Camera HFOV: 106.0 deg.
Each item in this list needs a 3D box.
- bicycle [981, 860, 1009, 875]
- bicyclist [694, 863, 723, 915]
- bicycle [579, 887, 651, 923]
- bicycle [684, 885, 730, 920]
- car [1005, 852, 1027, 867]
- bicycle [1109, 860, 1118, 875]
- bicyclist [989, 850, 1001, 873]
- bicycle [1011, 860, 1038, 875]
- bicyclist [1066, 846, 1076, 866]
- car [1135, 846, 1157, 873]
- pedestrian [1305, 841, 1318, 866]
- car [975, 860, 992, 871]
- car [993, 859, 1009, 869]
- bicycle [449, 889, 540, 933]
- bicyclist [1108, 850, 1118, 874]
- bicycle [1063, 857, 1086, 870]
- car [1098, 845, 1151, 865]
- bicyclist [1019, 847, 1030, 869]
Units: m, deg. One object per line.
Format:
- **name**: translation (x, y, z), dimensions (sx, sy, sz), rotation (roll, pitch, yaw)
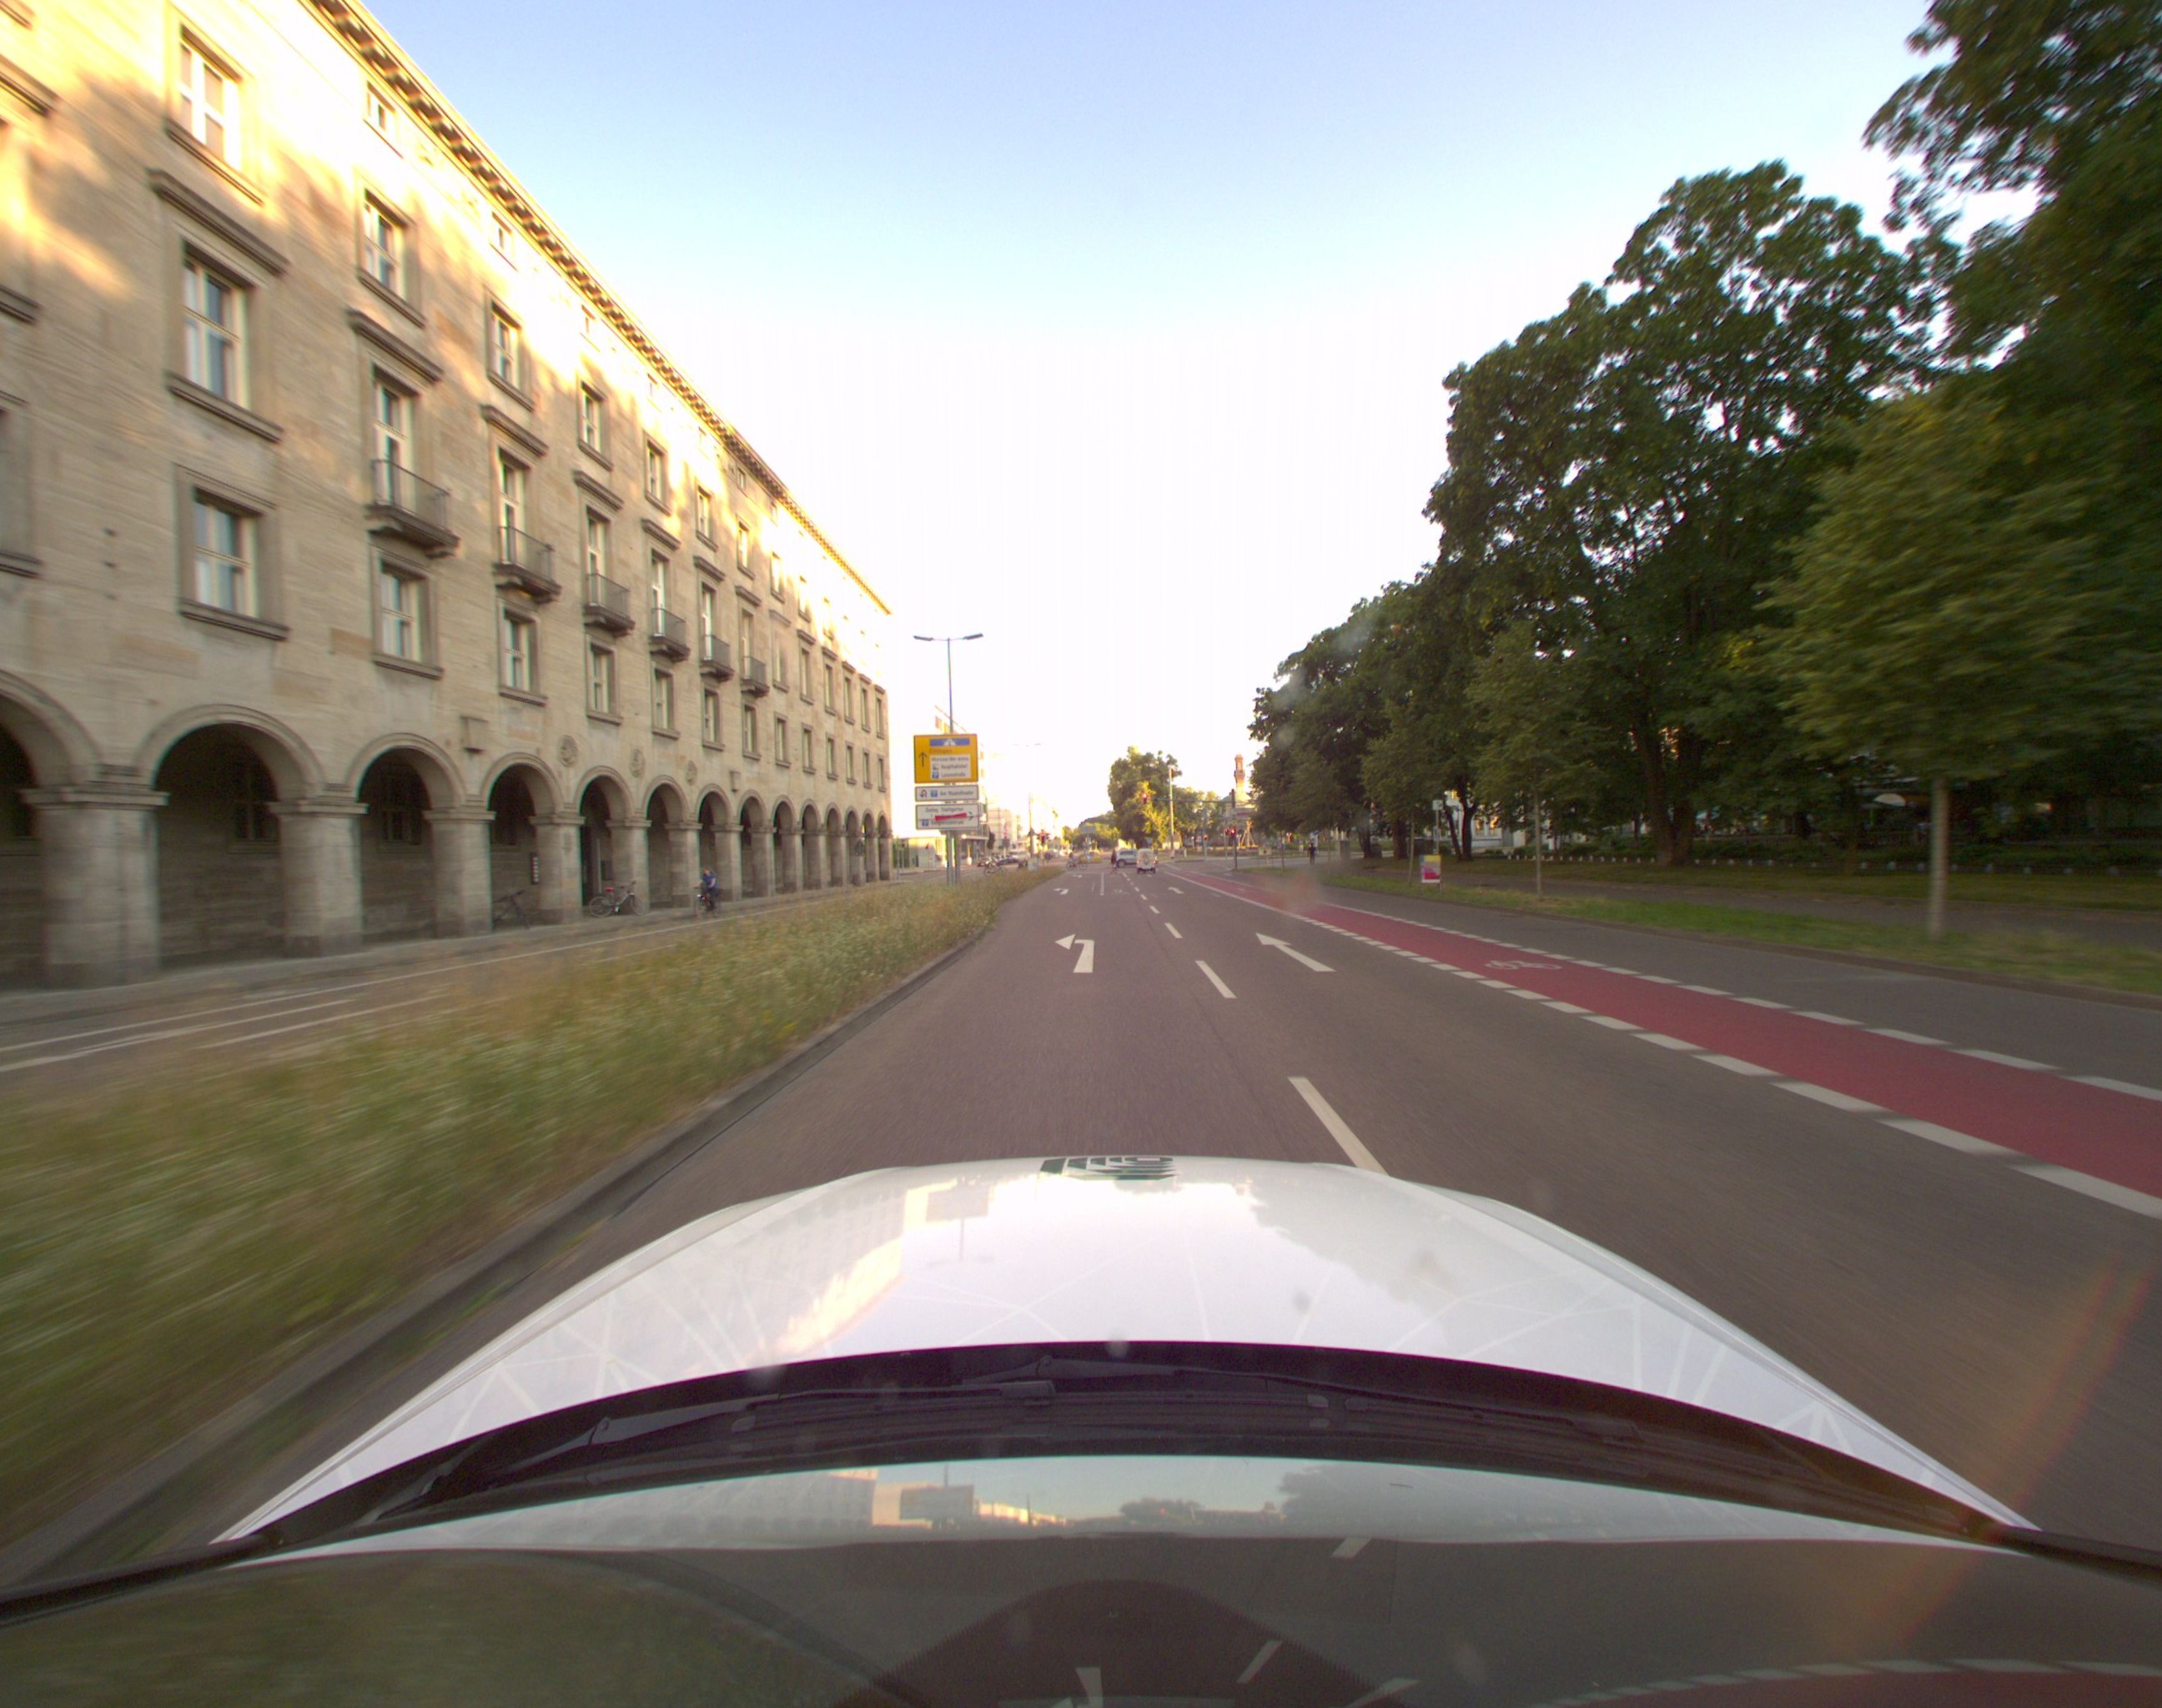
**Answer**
- **bicycle**: translation (-6.674, 1.007, 63.116), dimensions (2.006, 1.069, 0.731), rotation (-2, 0, 3)
- **bicyclist**: translation (-12.450, 1.150, 27.205), dimensions (0.534, 1.693, 0.749), rotation (-2, -1, 2)
- **bicycle**: translation (-15.302, 1.659, 26.804), dimensions (0.472, 1.005, 2.018), rotation (-3, 0, 37)
- **bicycle**: translation (-12.439, 1.603, 27.146), dimensions (0.539, 1.005, 2.005), rotation (-2, 0, 1)
- **car**: translation (-11.734, 0.993, 147.899), dimensions (2.162, 2.385, 6.009), rotation (-3, -2, 13)
- **bicycle**: translation (2.346, 0.974, 58.925), dimensions (0.635, 1.069, 2.070), rotation (-1, 0, 1)
- **bicyclist**: translation (-6.693, 0.566, 63.105), dimensions (0.743, 1.693, 0.716), rotation (-2, -1, 2)
- **bicycle**: translation (-4.494, 1.092, 64.804), dimensions (2.051, 1.069, 0.787), rotation (-2, 0, 0)
- **bicyclist**: translation (-0.841, 0.208, 70.452), dimensions (0.743, 1.693, 0.716), rotation (-2, -1, 4)
- **car**: translation (4.649, 0.360, 58.314), dimensions (1.453, 1.780, 2.567), rotation (-2, 1, 4)
- **pedestrian**: translation (16.244, -0.030, 57.397), dimensions (0.693, 1.693, 0.748), rotation (-2, -1, 0)
- **car**: translation (-14.127, 1.655, 118.202), dimensions (1.790, 1.475, 4.000), rotation (-2, -2, 1)
- **car**: translation (-13.266, 1.689, 134.916), dimensions (1.787, 1.475, 4.005), rotation (-3, -2, 5)
- **bicycle**: translation (-15.638, 1.506, 21.768), dimensions (0.473, 1.005, 2.015), rotation (-2, 0, 20)
- **bicyclist**: translation (2.324, 0.552, 58.611), dimensions (0.626, 1.693, 0.748), rotation (-2, -1, 1)
- **bicycle**: translation (-0.563, 0.779, 70.438), dimensions (1.888, 1.069, 0.731), rotation (-2, -1, 4)
- **car**: translation (3.990, 0.085, 74.677), dimensions (4.529, 1.648, 1.995), rotation (-2, 0, -7)
- **bicyclist**: translation (-4.503, 0.328, 64.790), dimensions (0.744, 1.693, 0.764), rotation (-2, -1, -3)
